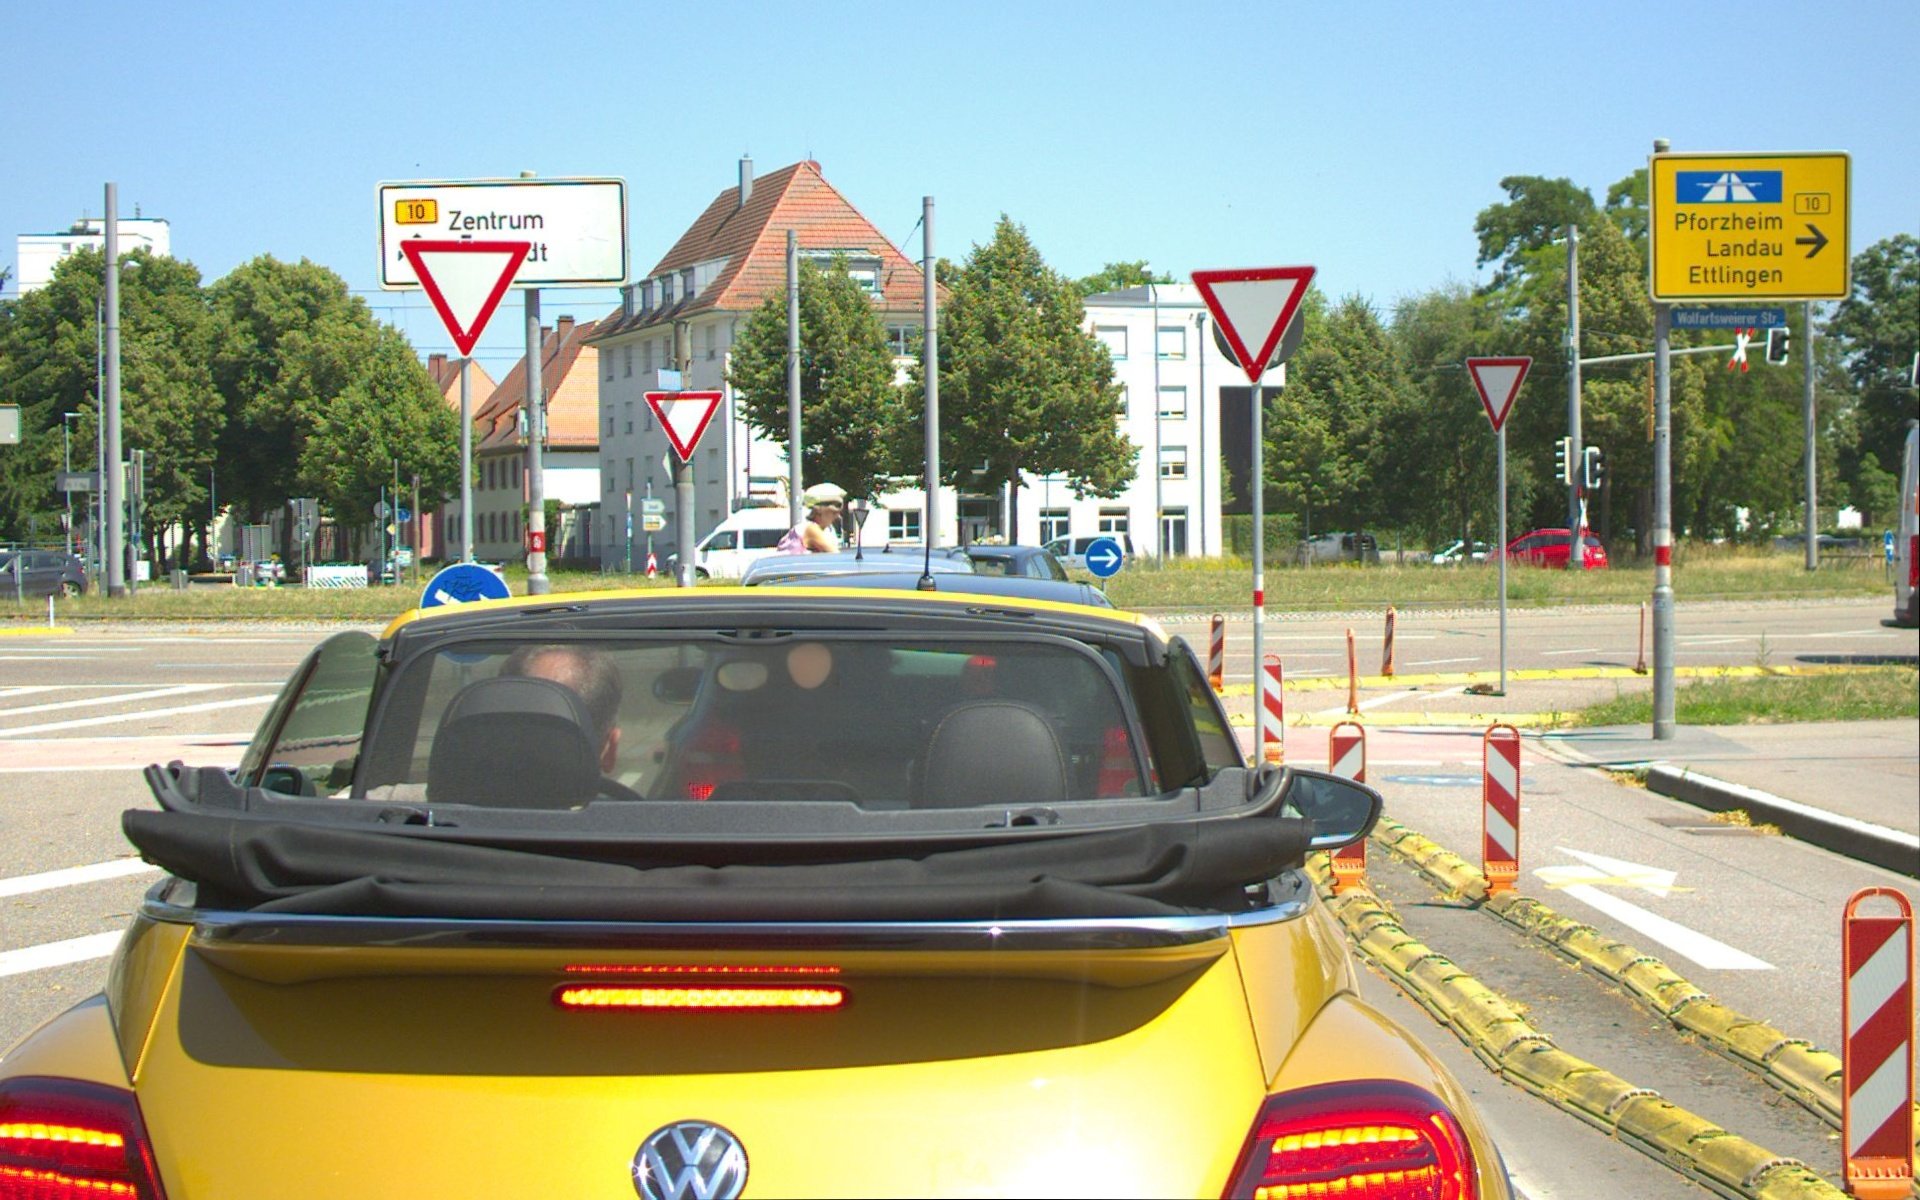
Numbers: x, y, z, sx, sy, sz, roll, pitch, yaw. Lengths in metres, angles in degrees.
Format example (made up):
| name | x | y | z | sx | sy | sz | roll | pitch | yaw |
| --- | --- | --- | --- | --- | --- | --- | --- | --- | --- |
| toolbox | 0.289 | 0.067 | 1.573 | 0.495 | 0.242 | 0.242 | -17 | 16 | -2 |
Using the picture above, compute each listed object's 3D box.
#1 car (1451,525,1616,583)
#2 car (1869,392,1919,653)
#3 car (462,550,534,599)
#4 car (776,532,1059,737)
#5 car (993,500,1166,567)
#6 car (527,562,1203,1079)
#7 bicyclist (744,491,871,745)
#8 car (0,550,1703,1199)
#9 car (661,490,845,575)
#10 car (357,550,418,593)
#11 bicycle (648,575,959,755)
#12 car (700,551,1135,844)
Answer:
| name | x | y | z | sx | sy | sz | roll | pitch | yaw |
| --- | --- | --- | --- | --- | --- | --- | --- | --- | --- |
| car | 16.666 | -1.340 | 99.936 | 4.342 | 1.648 | 1.897 | 1 | 1 | 40 |
| car | 13.567 | -0.793 | 37.544 | 6.864 | 2.818 | 1.999 | 1 | 0 | 10 |
| car | -17.405 | -0.975 | 129.383 | 1.884 | 1.766 | 4.001 | 1 | 1 | -19 |
| car | -0.338 | 0.212 | 27.591 | 2.065 | 1.476 | 4.543 | -1 | 1 | -1 |
| car | 3.857 | -2.115 | 110.363 | 5.313 | 2.063 | 1.993 | 1 | 0 | 9 |
| car | -0.285 | 0.587 | 11.633 | 1.851 | 1.361 | 4.258 | -1 | 1 | -1 |
| bicyclist | -1.066 | 0.118 | 24.133 | 0.670 | 1.746 | 0.592 | -1 | 2 | 21 |
| car | -0.274 | 0.682 | 5.096 | 1.765 | 1.476 | 4.258 | 1 | 1 | -1 |
| car | -6.074 | -1.969 | 100.855 | 5.310 | 2.389 | 1.994 | 1 | 0 | -4 |
| car | -24.272 | -1.232 | 145.663 | 1.884 | 1.766 | 4.001 | 1 | 1 | -19 |
| bicycle | -1.100 | 0.446 | 24.130 | 2.094 | 1.217 | 0.633 | 0 | 1 | 22 |
| car | -0.217 | 0.447 | 18.595 | 2.065 | 1.377 | 4.258 | 1 | 1 | 0 |
